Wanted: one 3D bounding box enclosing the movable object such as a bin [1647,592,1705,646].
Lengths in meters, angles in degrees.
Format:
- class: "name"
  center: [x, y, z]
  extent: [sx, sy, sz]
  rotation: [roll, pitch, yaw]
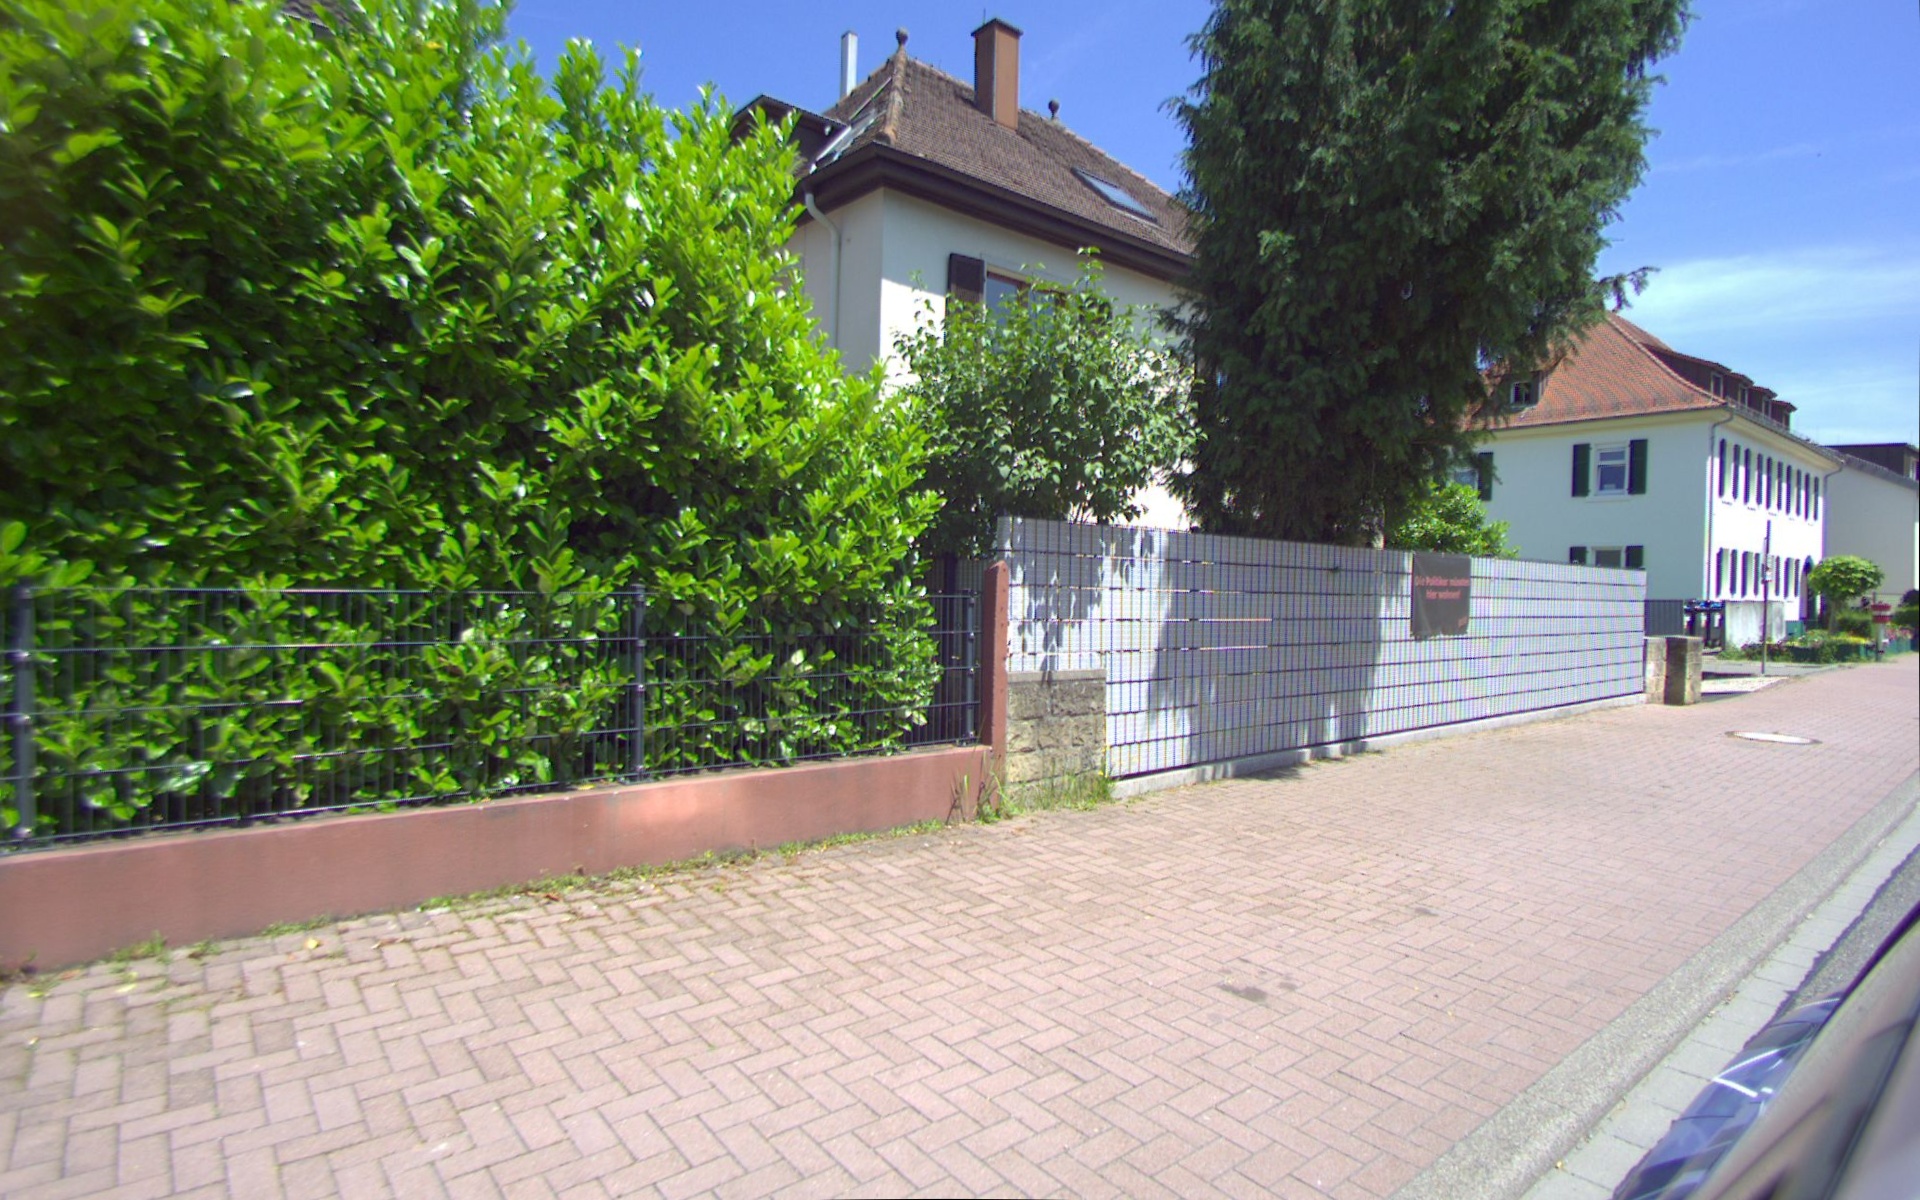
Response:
- class: "movable object such as a bin"
  center: [19.620, 0.513, 27.730]
  extent: [0.884, 1.449, 1.052]
  rotation: [0, -2, -38]
